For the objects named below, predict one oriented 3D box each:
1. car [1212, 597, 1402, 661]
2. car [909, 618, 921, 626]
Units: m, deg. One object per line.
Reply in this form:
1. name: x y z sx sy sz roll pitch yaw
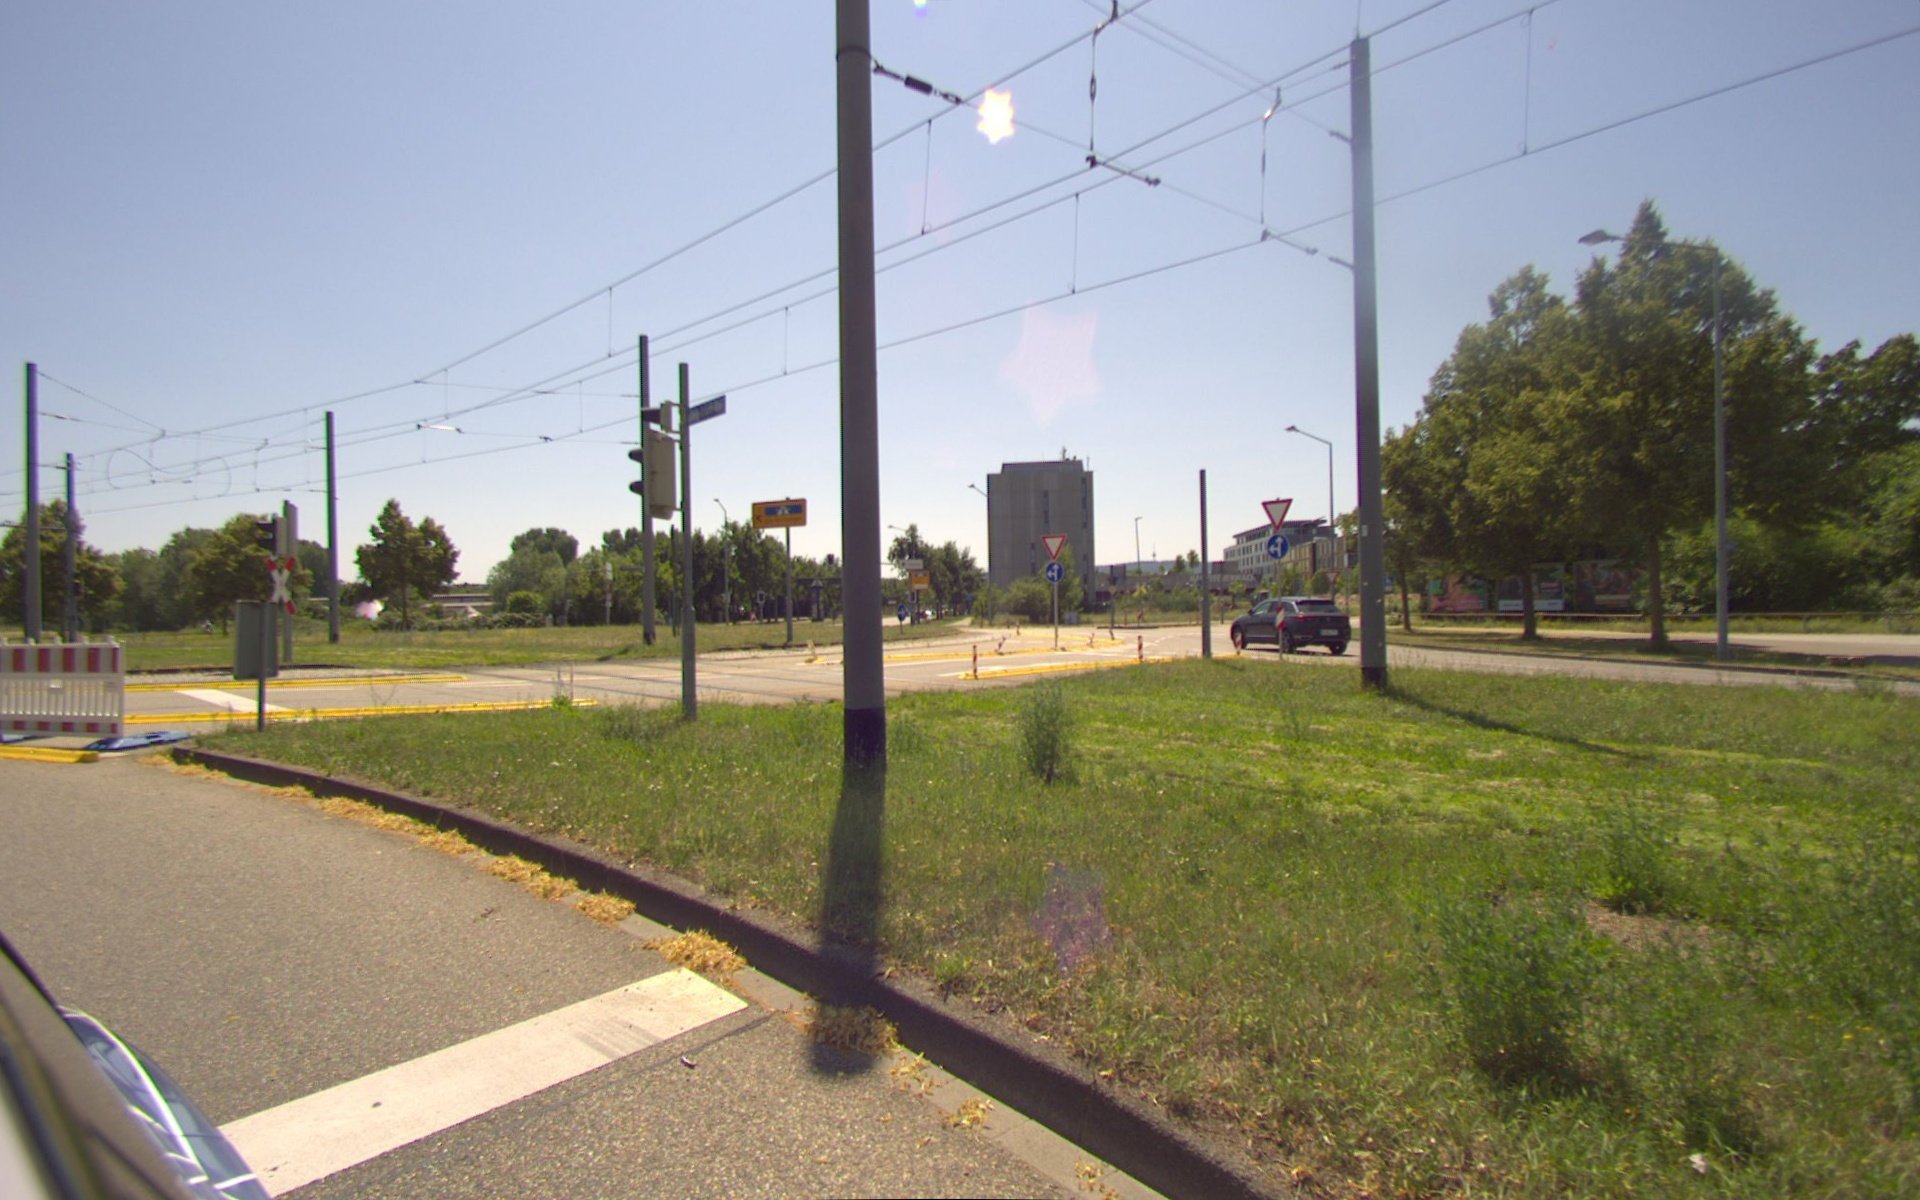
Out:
1. car: 9.583 0.727 28.621 1.966 1.529 5.855 -1 1 -17
2. car: -8.000 3.900 181.378 1.737 1.419 3.397 -1 -1 3
